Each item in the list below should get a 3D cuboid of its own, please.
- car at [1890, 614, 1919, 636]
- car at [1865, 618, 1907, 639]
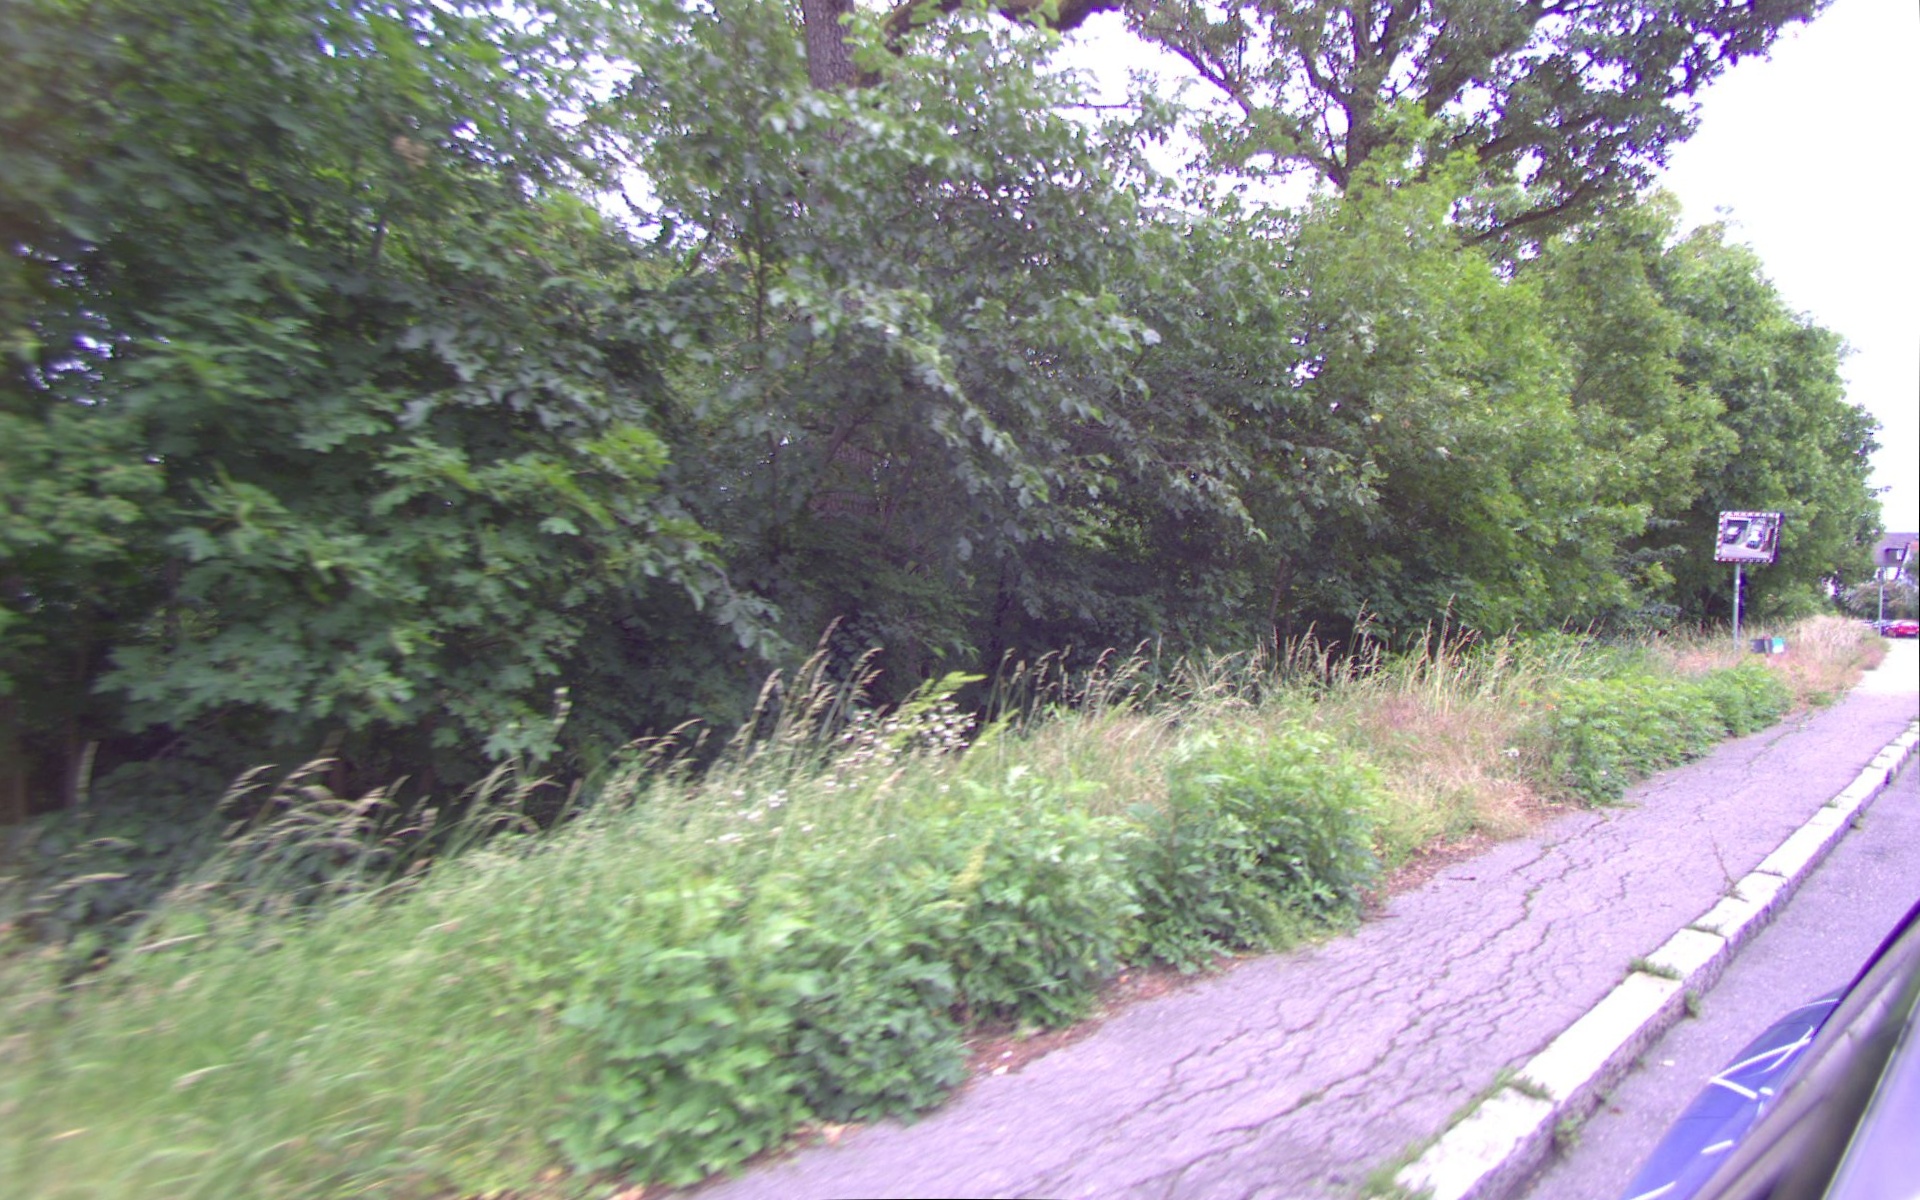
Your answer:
[{"bbox_3d":[76.786,2.012,81.378,1.984,1.709,4.658,1,0,31],"label":"car"},{"bbox_3d":[82.032,2.463,89.725,1.985,1.709,4.655,1,0,33],"label":"car"}]
